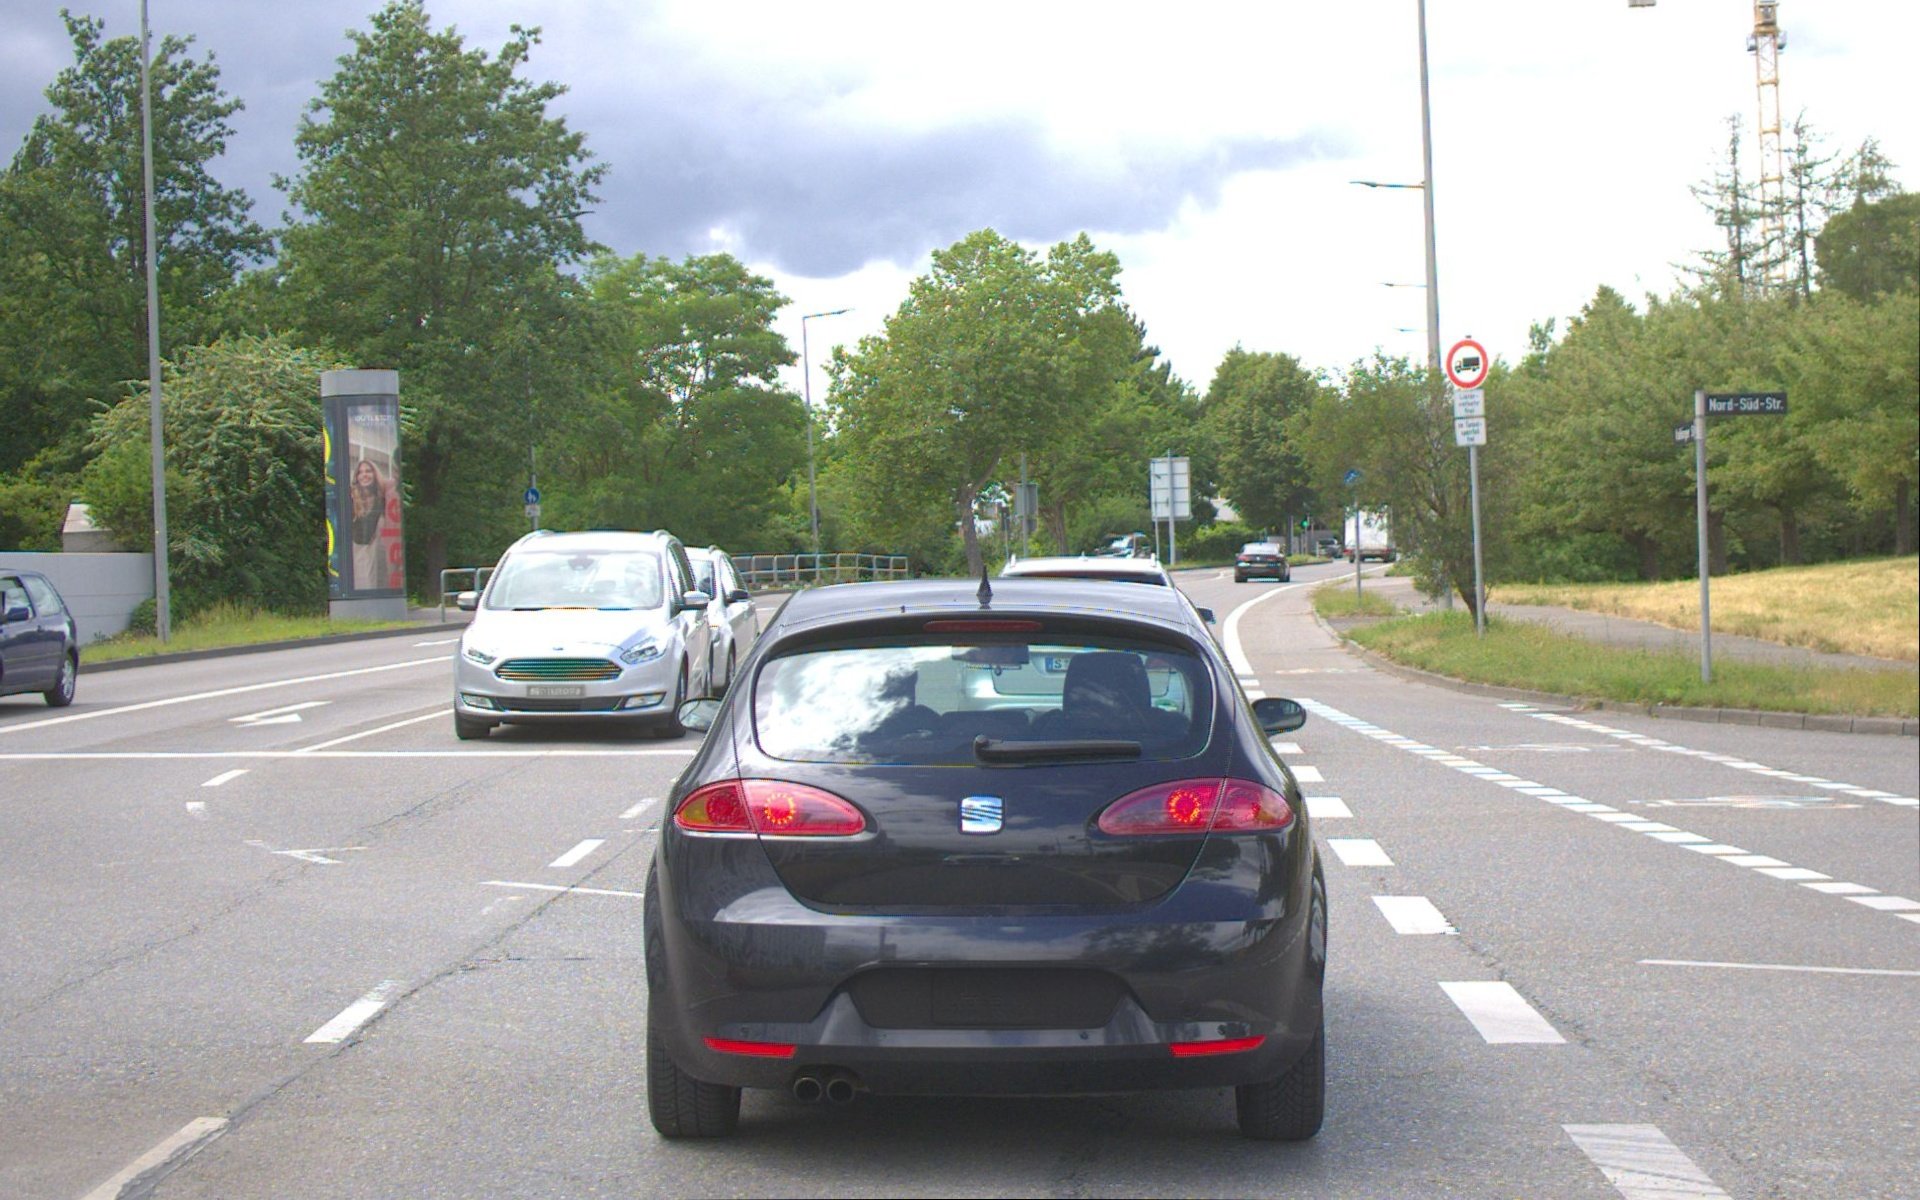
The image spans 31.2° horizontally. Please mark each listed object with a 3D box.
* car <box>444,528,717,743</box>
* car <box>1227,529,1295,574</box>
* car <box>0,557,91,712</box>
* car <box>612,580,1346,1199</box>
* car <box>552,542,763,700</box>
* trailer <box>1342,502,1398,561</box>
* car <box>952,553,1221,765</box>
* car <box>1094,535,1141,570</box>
[{"bbox_3d":[-3.155,0.229,29.407,1.820,1.681,4.645,0,1,0],"label":"car"},{"bbox_3d":[10.859,-1.767,123.713,1.994,1.560,4.469,-1,1,11],"label":"car"},{"bbox_3d":[-9.701,0.315,33.110,1.554,1.414,3.896,0,1,2],"label":"car"},{"bbox_3d":[-0.006,0.669,9.741,1.711,1.412,3.459,0,1,-2],"label":"car"},{"bbox_3d":[-3.054,0.170,35.422,1.660,1.513,4.084,0,1,2],"label":"car"},{"bbox_3d":[21.928,-3.649,183.617,2.492,3.063,5.584,0,0,12],"label":"trailer"},{"bbox_3d":[0.876,0.399,25.807,1.834,1.462,3.751,0,0,-1],"label":"car"},{"bbox_3d":[7.248,-2.175,157.967,1.715,1.576,3.741,0,0,10],"label":"car"}]
